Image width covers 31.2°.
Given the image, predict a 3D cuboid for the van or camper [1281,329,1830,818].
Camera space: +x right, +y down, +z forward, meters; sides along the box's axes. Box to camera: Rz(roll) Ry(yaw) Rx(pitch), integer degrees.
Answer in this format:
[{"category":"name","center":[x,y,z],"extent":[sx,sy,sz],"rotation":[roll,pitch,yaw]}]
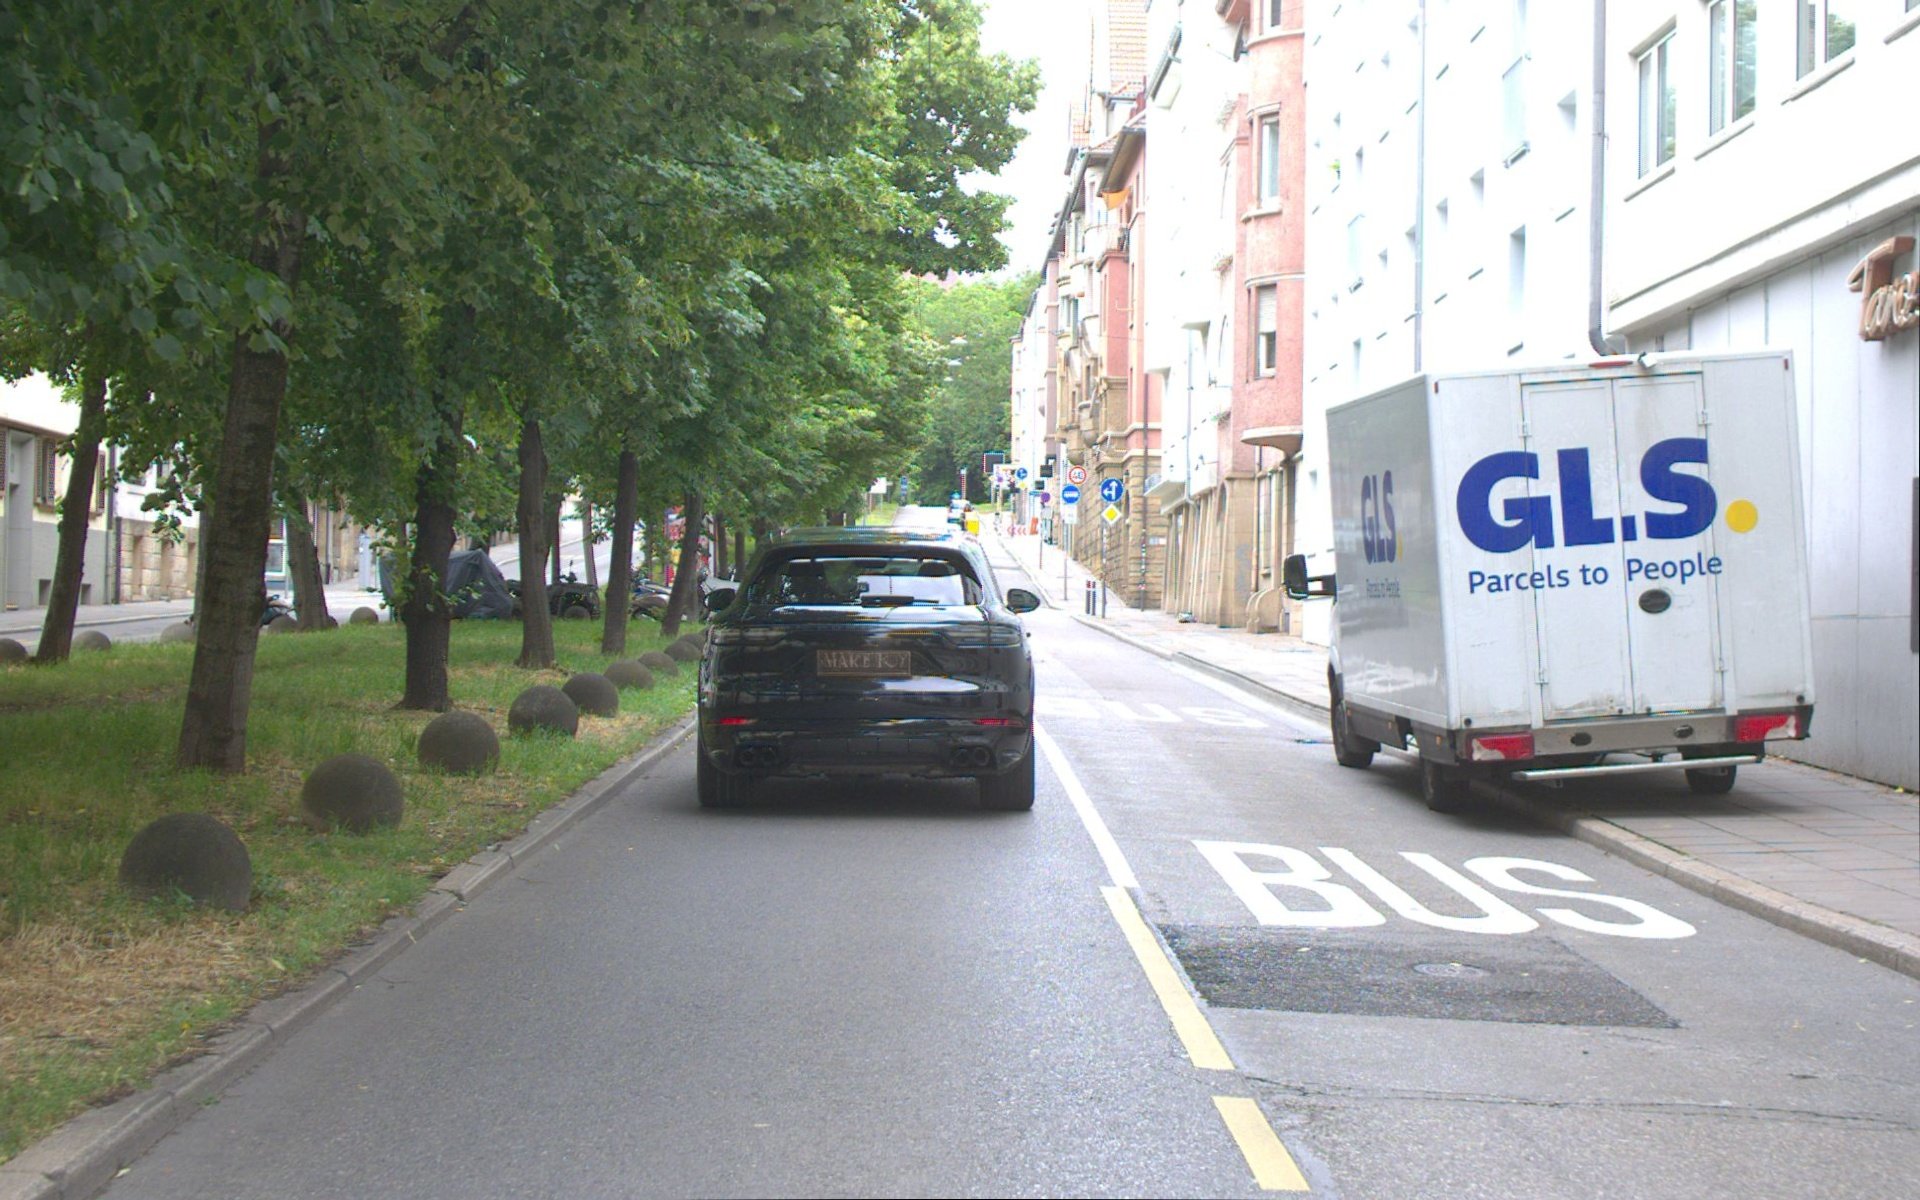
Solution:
[{"category":"van or camper","center":[3.829,-0.202,23.747],"extent":[2.480,2.793,7.238],"rotation":[-2,1,0]}]

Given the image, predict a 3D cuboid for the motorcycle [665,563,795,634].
[{"category":"motorcycle","center":[-4.263,-0.031,63.816],"extent":[2.355,1.231,1.034],"rotation":[1,2,-2]}]

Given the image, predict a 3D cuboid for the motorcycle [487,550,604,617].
[{"category":"motorcycle","center":[-7.746,-0.311,64.295],"extent":[2.029,1.231,0.896],"rotation":[1,1,5]}]

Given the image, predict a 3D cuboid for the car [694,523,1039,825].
[{"category":"car","center":[-0.596,0.387,21.319],"extent":[1.903,1.660,4.136],"rotation":[1,1,-2]}]

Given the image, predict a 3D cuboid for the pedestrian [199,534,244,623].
[{"category":"pedestrian","center":[-13.545,-0.395,63.078],"extent":[0.662,1.610,0.579],"rotation":[1,1,1]}]

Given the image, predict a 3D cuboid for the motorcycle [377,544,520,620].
[{"category":"motorcycle","center":[-9.075,-0.324,61.049],"extent":[2.382,1.312,1.046],"rotation":[1,1,-1]}]

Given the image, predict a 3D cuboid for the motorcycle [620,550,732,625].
[{"category":"motorcycle","center":[-5.039,-0.213,61.109],"extent":[1.924,1.292,0.893],"rotation":[0,-1,-2]}]

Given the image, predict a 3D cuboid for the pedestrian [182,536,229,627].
[{"category":"pedestrian","center":[-13.623,-0.346,62.108],"extent":[0.634,1.607,0.764],"rotation":[2,1,1]}]

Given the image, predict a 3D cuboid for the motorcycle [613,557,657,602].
[{"category":"motorcycle","center":[-8.331,-0.514,88.205],"extent":[0.900,1.103,2.251],"rotation":[0,-1,0]}]

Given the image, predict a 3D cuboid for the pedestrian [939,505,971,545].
[{"category":"pedestrian","center":[-0.246,-3.784,173.327],"extent":[1.301,2.007,1.020],"rotation":[1,1,-27]}]

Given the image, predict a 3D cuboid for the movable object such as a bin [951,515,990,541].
[{"category":"movable object such as a bin","center":[0.521,-3.605,172.065],"extent":[1.237,1.270,1.846],"rotation":[1,1,-28]}]
